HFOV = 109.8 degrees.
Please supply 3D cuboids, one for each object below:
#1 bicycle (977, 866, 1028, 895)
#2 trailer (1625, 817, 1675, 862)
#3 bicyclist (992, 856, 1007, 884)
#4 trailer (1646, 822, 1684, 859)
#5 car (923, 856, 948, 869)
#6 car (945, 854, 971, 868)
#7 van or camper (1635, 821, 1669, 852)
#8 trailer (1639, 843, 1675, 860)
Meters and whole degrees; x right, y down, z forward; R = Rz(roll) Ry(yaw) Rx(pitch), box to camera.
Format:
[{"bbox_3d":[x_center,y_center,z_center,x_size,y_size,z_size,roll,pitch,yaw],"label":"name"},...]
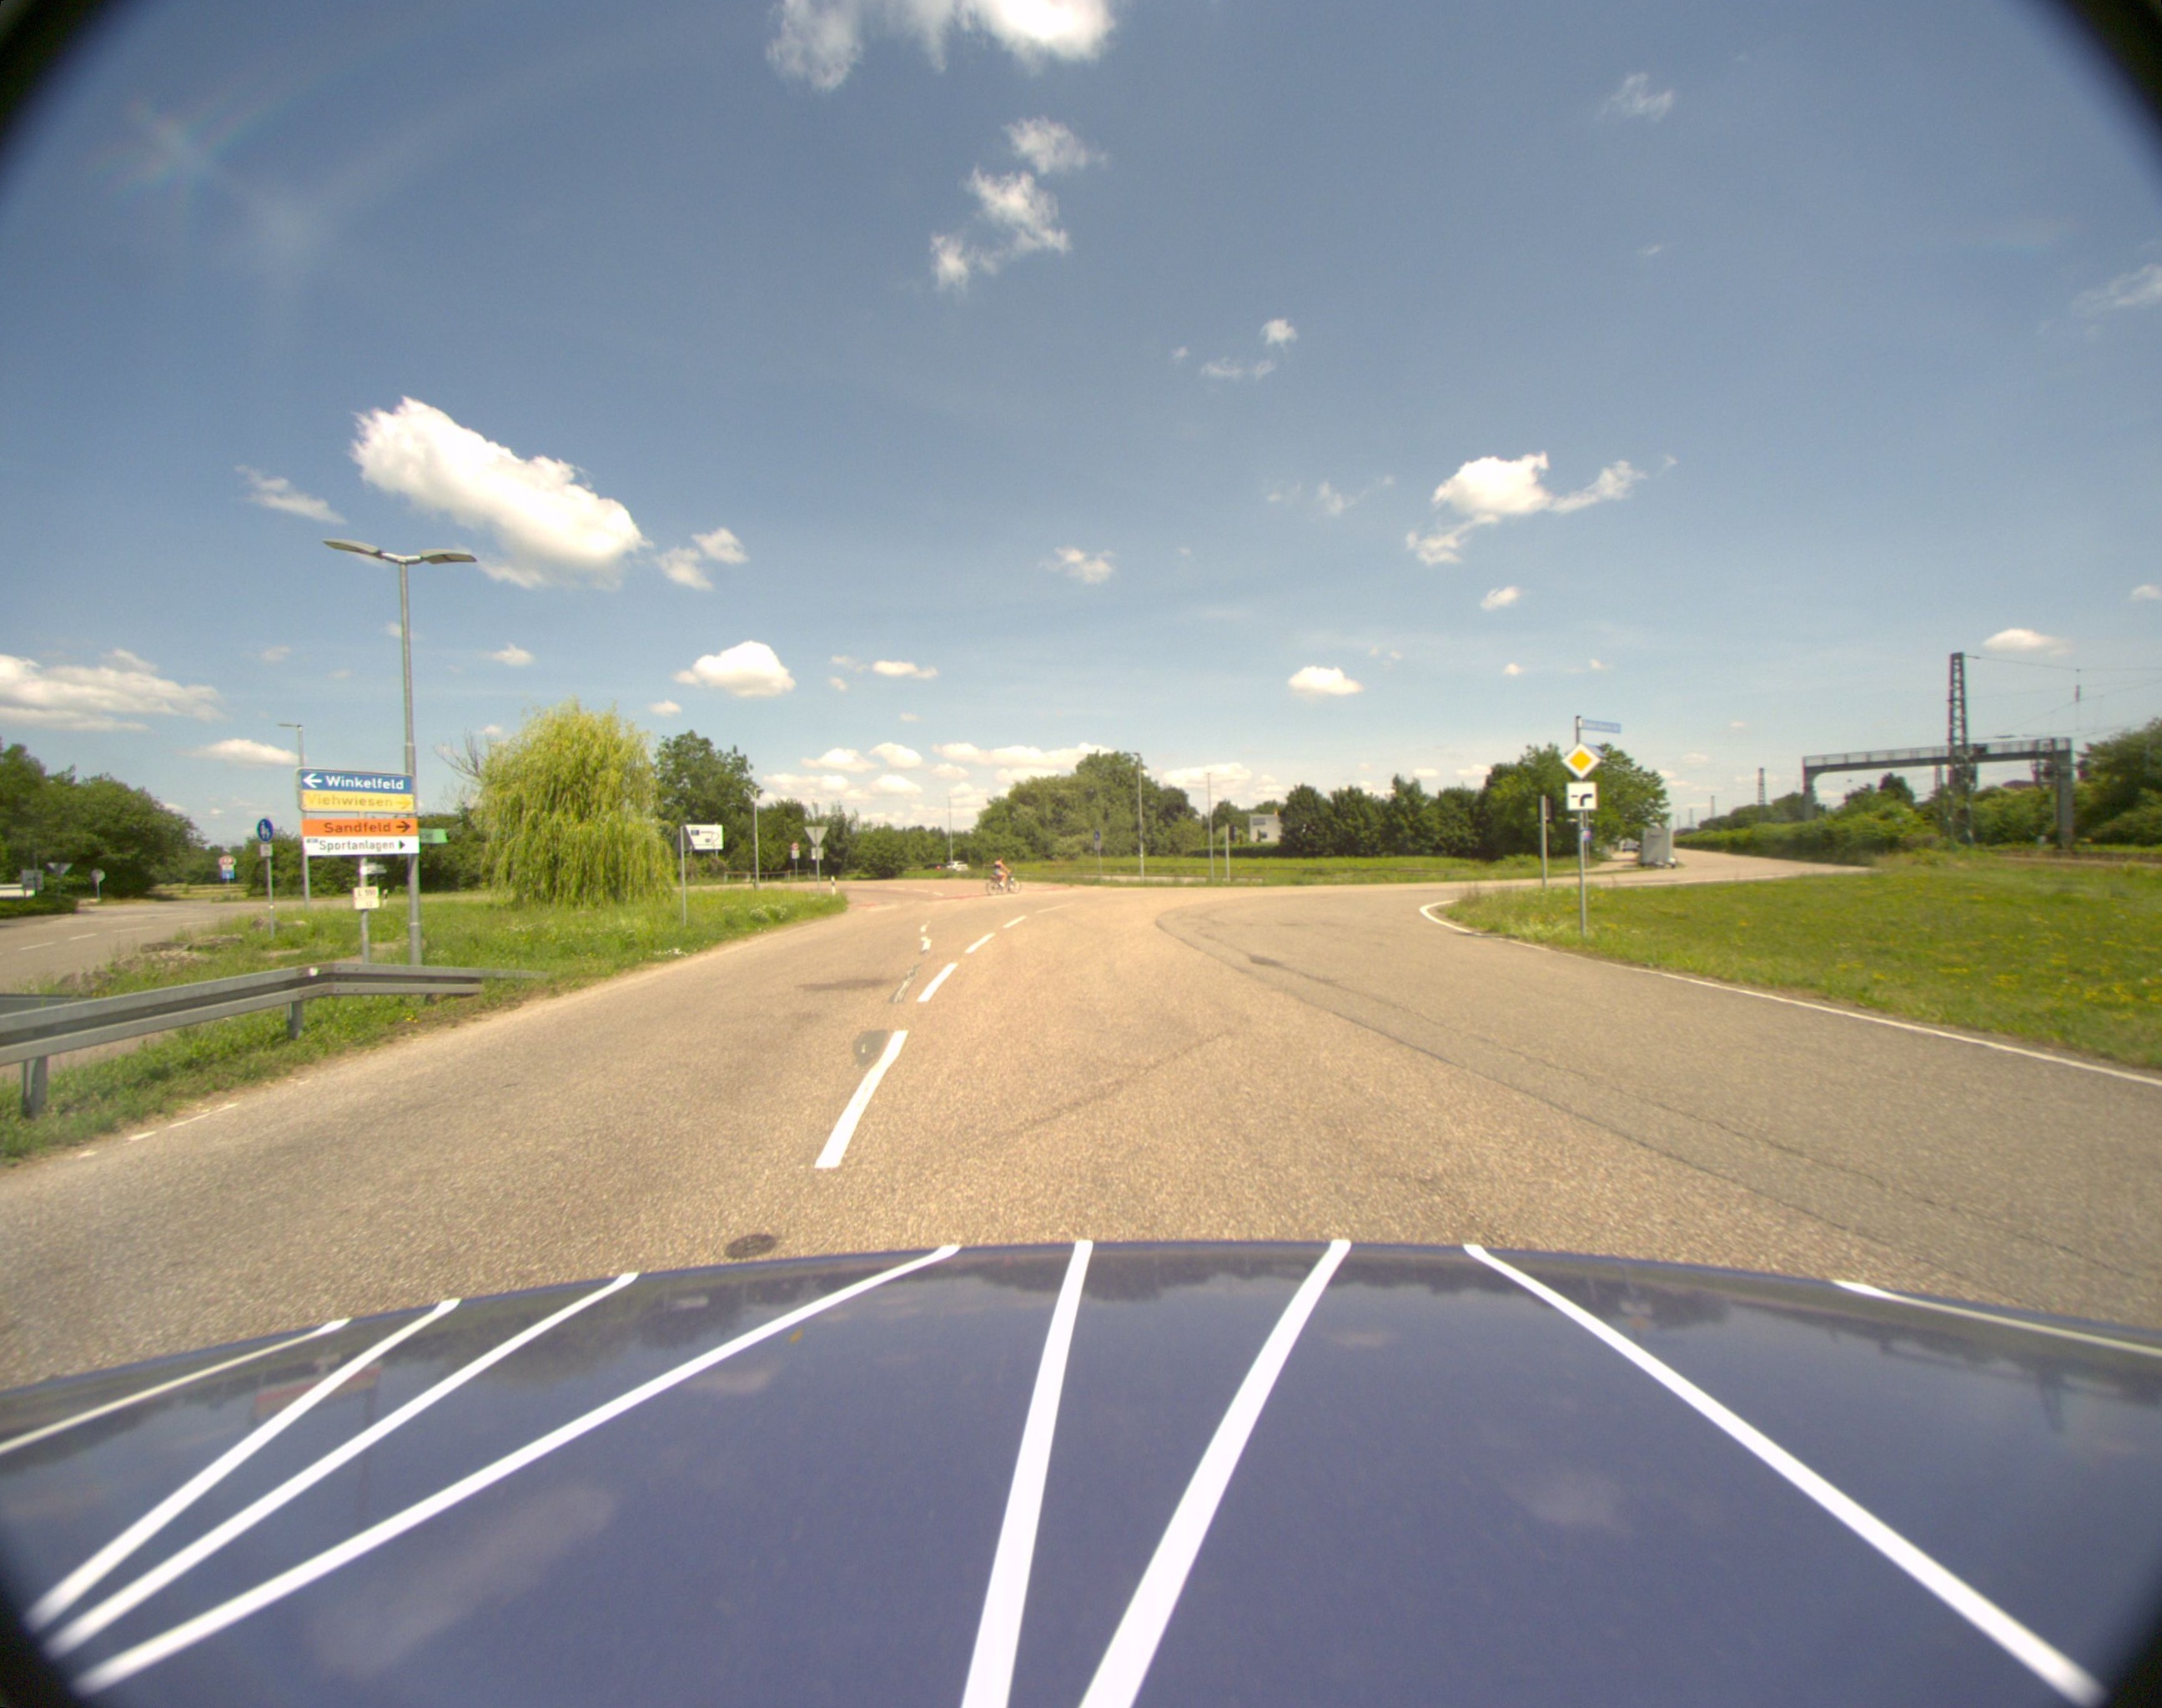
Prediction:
[{"bbox_3d":[-3.600,1.216,34.990,2.149,1.158,0.660,-4,1,-25],"label":"bicycle"},{"bbox_3d":[35.720,-0.929,47.631,1.933,2.629,5.194,2,3,42],"label":"trailer"},{"bbox_3d":[-3.739,0.727,34.913,0.512,1.248,0.468,-4,1,-25],"label":"bicyclist"},{"bbox_3d":[40.727,-0.958,53.054,1.919,2.494,4.750,2,2,37],"label":"trailer"},{"bbox_3d":[-16.573,1.004,86.513,1.421,1.330,3.110,-3,0,-41],"label":"car"},{"bbox_3d":[-14.435,0.830,88.915,1.421,1.495,3.110,-3,0,-42],"label":"car"},{"bbox_3d":[54.765,-1.703,72.978,2.440,2.811,7.638,1,2,36],"label":"van or camper"},{"bbox_3d":[44.072,-0.201,58.102,2.005,1.117,4.497,2,3,39],"label":"trailer"}]
